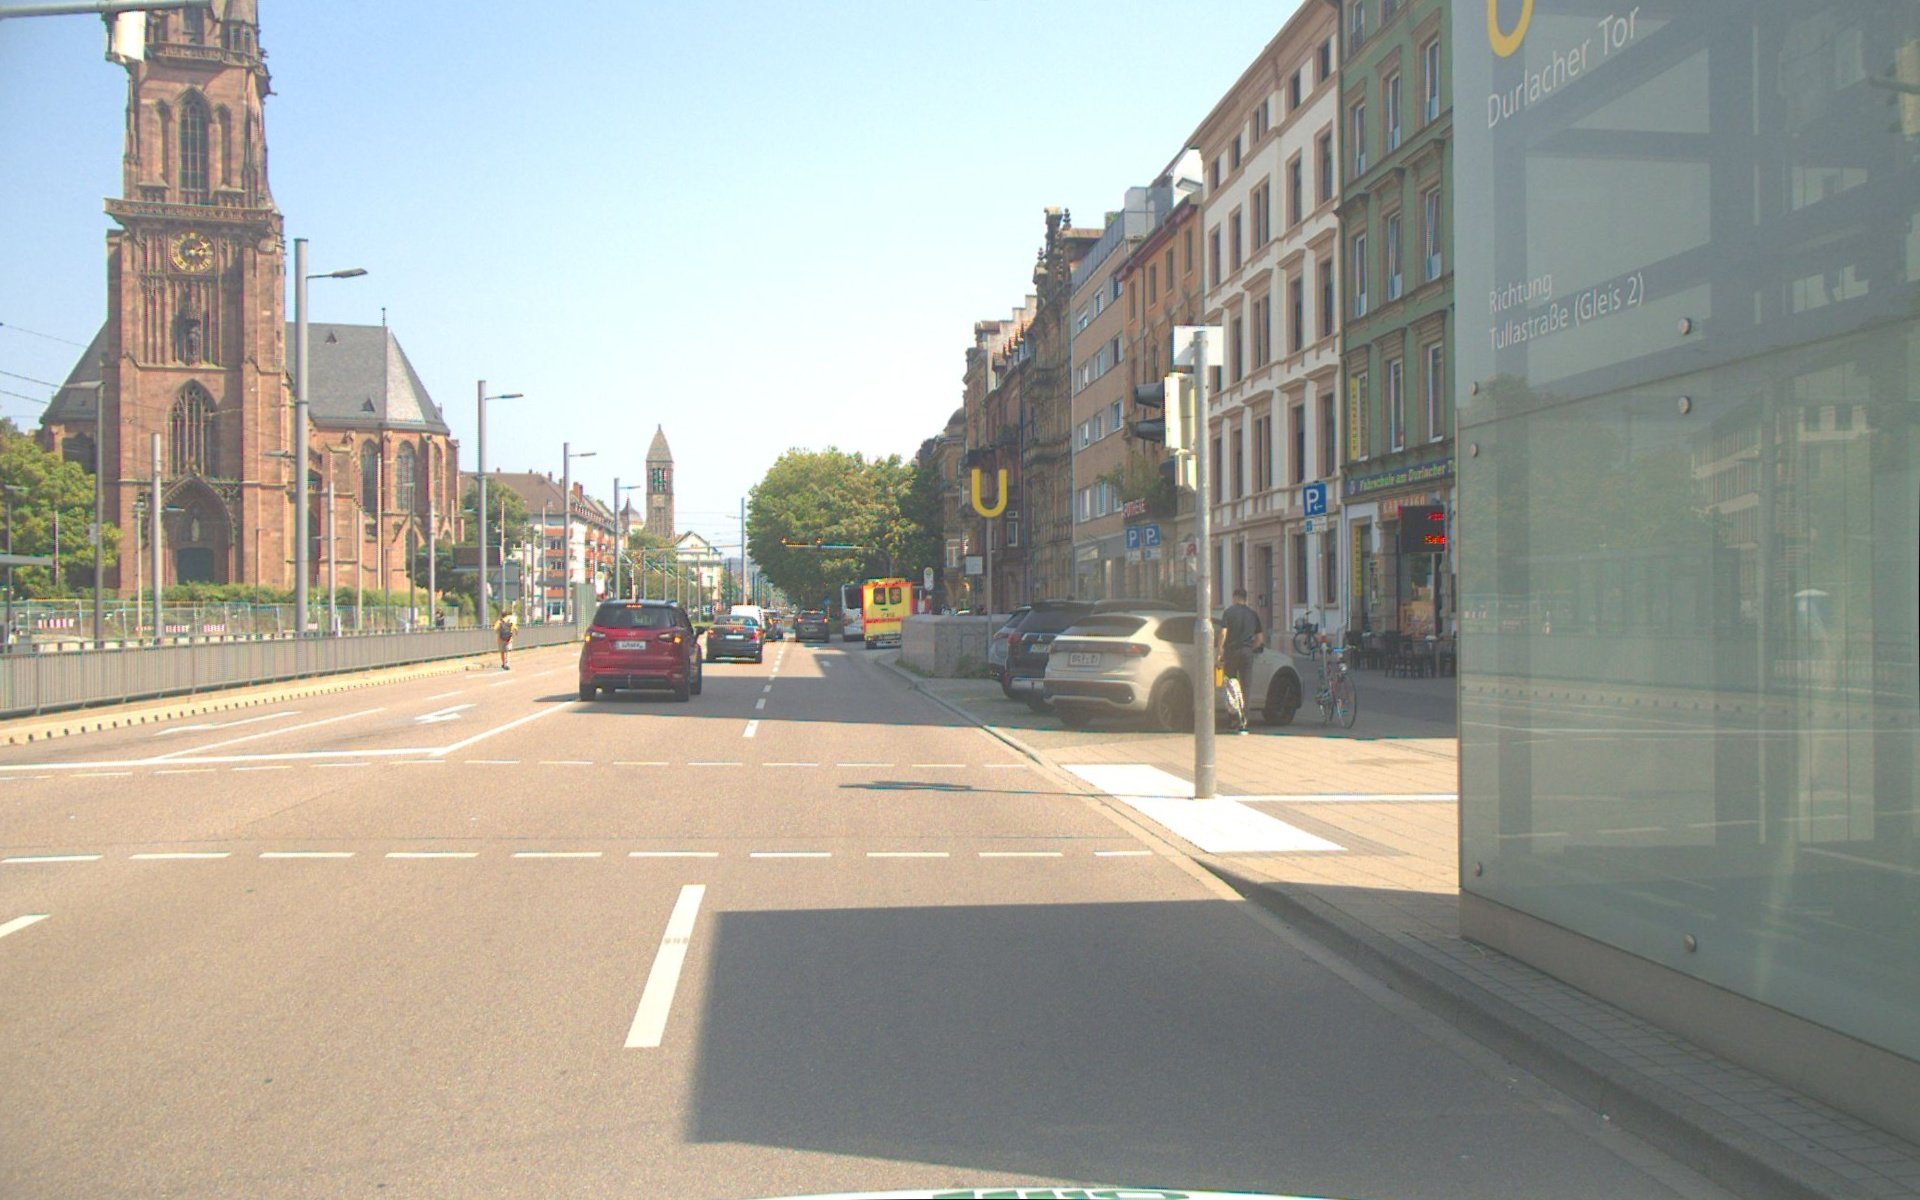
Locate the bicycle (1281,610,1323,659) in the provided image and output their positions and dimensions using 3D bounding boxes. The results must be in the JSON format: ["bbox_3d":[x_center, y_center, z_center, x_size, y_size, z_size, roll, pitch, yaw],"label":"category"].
[{"bbox_3d":[9.092,0.898,44.043,0.470,1.166,2.469,0,2,-4],"label":"bicycle"}]

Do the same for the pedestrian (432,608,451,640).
[{"bbox_3d":[-28.322,1.312,90.336,0.813,1.782,0.720,0,-1,-5],"label":"pedestrian"}]

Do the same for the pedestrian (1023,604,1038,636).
[{"bbox_3d":[3.399,0.968,79.824,0.631,1.519,0.788,0,-1,-6],"label":"pedestrian"}]

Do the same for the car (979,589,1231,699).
[{"bbox_3d":[2.600,0.696,28.800,2.008,1.743,4.637,-1,0,42],"label":"car"}]

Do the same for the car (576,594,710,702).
[{"bbox_3d":[-5.230,0.759,27.736,1.727,1.646,4.079,-1,0,-4],"label":"car"}]

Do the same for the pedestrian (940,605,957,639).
[{"bbox_3d":[-0.561,1.093,82.779,0.682,1.696,0.603,0,-1,20],"label":"pedestrian"}]

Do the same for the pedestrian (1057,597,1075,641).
[{"bbox_3d":[4.388,0.780,68.510,0.566,1.781,0.678,-3,-1,-6],"label":"pedestrian"}]

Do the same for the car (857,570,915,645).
[{"bbox_3d":[-3.091,0.318,69.437,2.253,2.939,5.596,-2,0,-2],"label":"car"}]

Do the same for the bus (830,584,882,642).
[{"bbox_3d":[-6.023,0.731,94.319,2.485,3.085,12.420,0,-1,-6],"label":"bus"}]

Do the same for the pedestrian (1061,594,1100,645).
[{"bbox_3d":[3.903,0.637,53.523,0.844,1.609,0.957,0,-1,-39],"label":"pedestrian"}]

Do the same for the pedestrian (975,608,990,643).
[{"bbox_3d":[1.086,1.231,80.592,0.683,1.696,0.602,0,-1,-4],"label":"pedestrian"}]

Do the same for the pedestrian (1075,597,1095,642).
[{"bbox_3d":[5.182,0.810,68.475,0.588,1.826,0.879,-3,-1,-6],"label":"pedestrian"}]

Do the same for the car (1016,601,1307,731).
[{"bbox_3d":[2.707,0.841,21.816,3.753,1.526,1.780,2,0,-42],"label":"car"}]

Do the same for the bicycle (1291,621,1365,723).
[{"bbox_3d":[4.947,0.955,22.332,0.464,1.319,1.790,-1,-1,-4],"label":"bicycle"}]

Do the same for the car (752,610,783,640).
[{"bbox_3d":[-11.171,1.472,96.073,1.756,1.728,3.993,0,-1,-7],"label":"car"}]

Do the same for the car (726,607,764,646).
[{"bbox_3d":[-10.254,1.283,79.193,1.756,1.811,3.993,0,-1,-7],"label":"car"}]

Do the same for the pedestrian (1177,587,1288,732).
[{"bbox_3d":[3.370,0.721,20.484,1.025,1.734,0.894,1,-1,-32],"label":"pedestrian"}]

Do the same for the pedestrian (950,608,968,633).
[{"bbox_3d":[-0.081,1.485,121.124,1.225,1.782,1.524,0,1,-5],"label":"pedestrian"}]

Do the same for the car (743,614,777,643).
[{"bbox_3d":[-10.539,1.498,87.215,1.756,1.498,3.993,0,-1,-7],"label":"car"}]

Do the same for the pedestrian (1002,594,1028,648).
[{"bbox_3d":[1.903,0.716,56.944,0.832,1.759,0.971,-2,2,1],"label":"pedestrian"}]

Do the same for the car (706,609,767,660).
[{"bbox_3d":[-6.736,1.010,50.025,1.756,1.456,3.993,-1,0,-7],"label":"car"}]

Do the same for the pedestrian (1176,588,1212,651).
[{"bbox_3d":[7.159,0.604,50.625,0.827,1.878,0.683,-2,0,-15],"label":"pedestrian"}]

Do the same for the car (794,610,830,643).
[{"bbox_3d":[-7.895,1.432,87.942,1.756,1.707,3.993,0,-1,-7],"label":"car"}]

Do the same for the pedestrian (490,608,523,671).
[{"bbox_3d":[-12.890,1.123,47.025,0.746,1.782,1.067,0,-1,-7],"label":"pedestrian"}]

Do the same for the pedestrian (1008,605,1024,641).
[{"bbox_3d":[2.695,1.121,79.746,0.631,1.714,0.788,0,-1,-6],"label":"pedestrian"}]

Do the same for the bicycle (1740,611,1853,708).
[{"bbox_3d":[11.429,0.785,22.660,0.401,1.260,1.824,0,0,-8],"label":"bicycle"}]

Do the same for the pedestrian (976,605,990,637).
[{"bbox_3d":[1.222,1.140,88.299,0.683,1.696,1.063,0,-1,-4],"label":"pedestrian"}]

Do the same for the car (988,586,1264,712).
[{"bbox_3d":[2.579,0.672,24.966,1.951,1.717,4.366,-1,0,42],"label":"car"}]
